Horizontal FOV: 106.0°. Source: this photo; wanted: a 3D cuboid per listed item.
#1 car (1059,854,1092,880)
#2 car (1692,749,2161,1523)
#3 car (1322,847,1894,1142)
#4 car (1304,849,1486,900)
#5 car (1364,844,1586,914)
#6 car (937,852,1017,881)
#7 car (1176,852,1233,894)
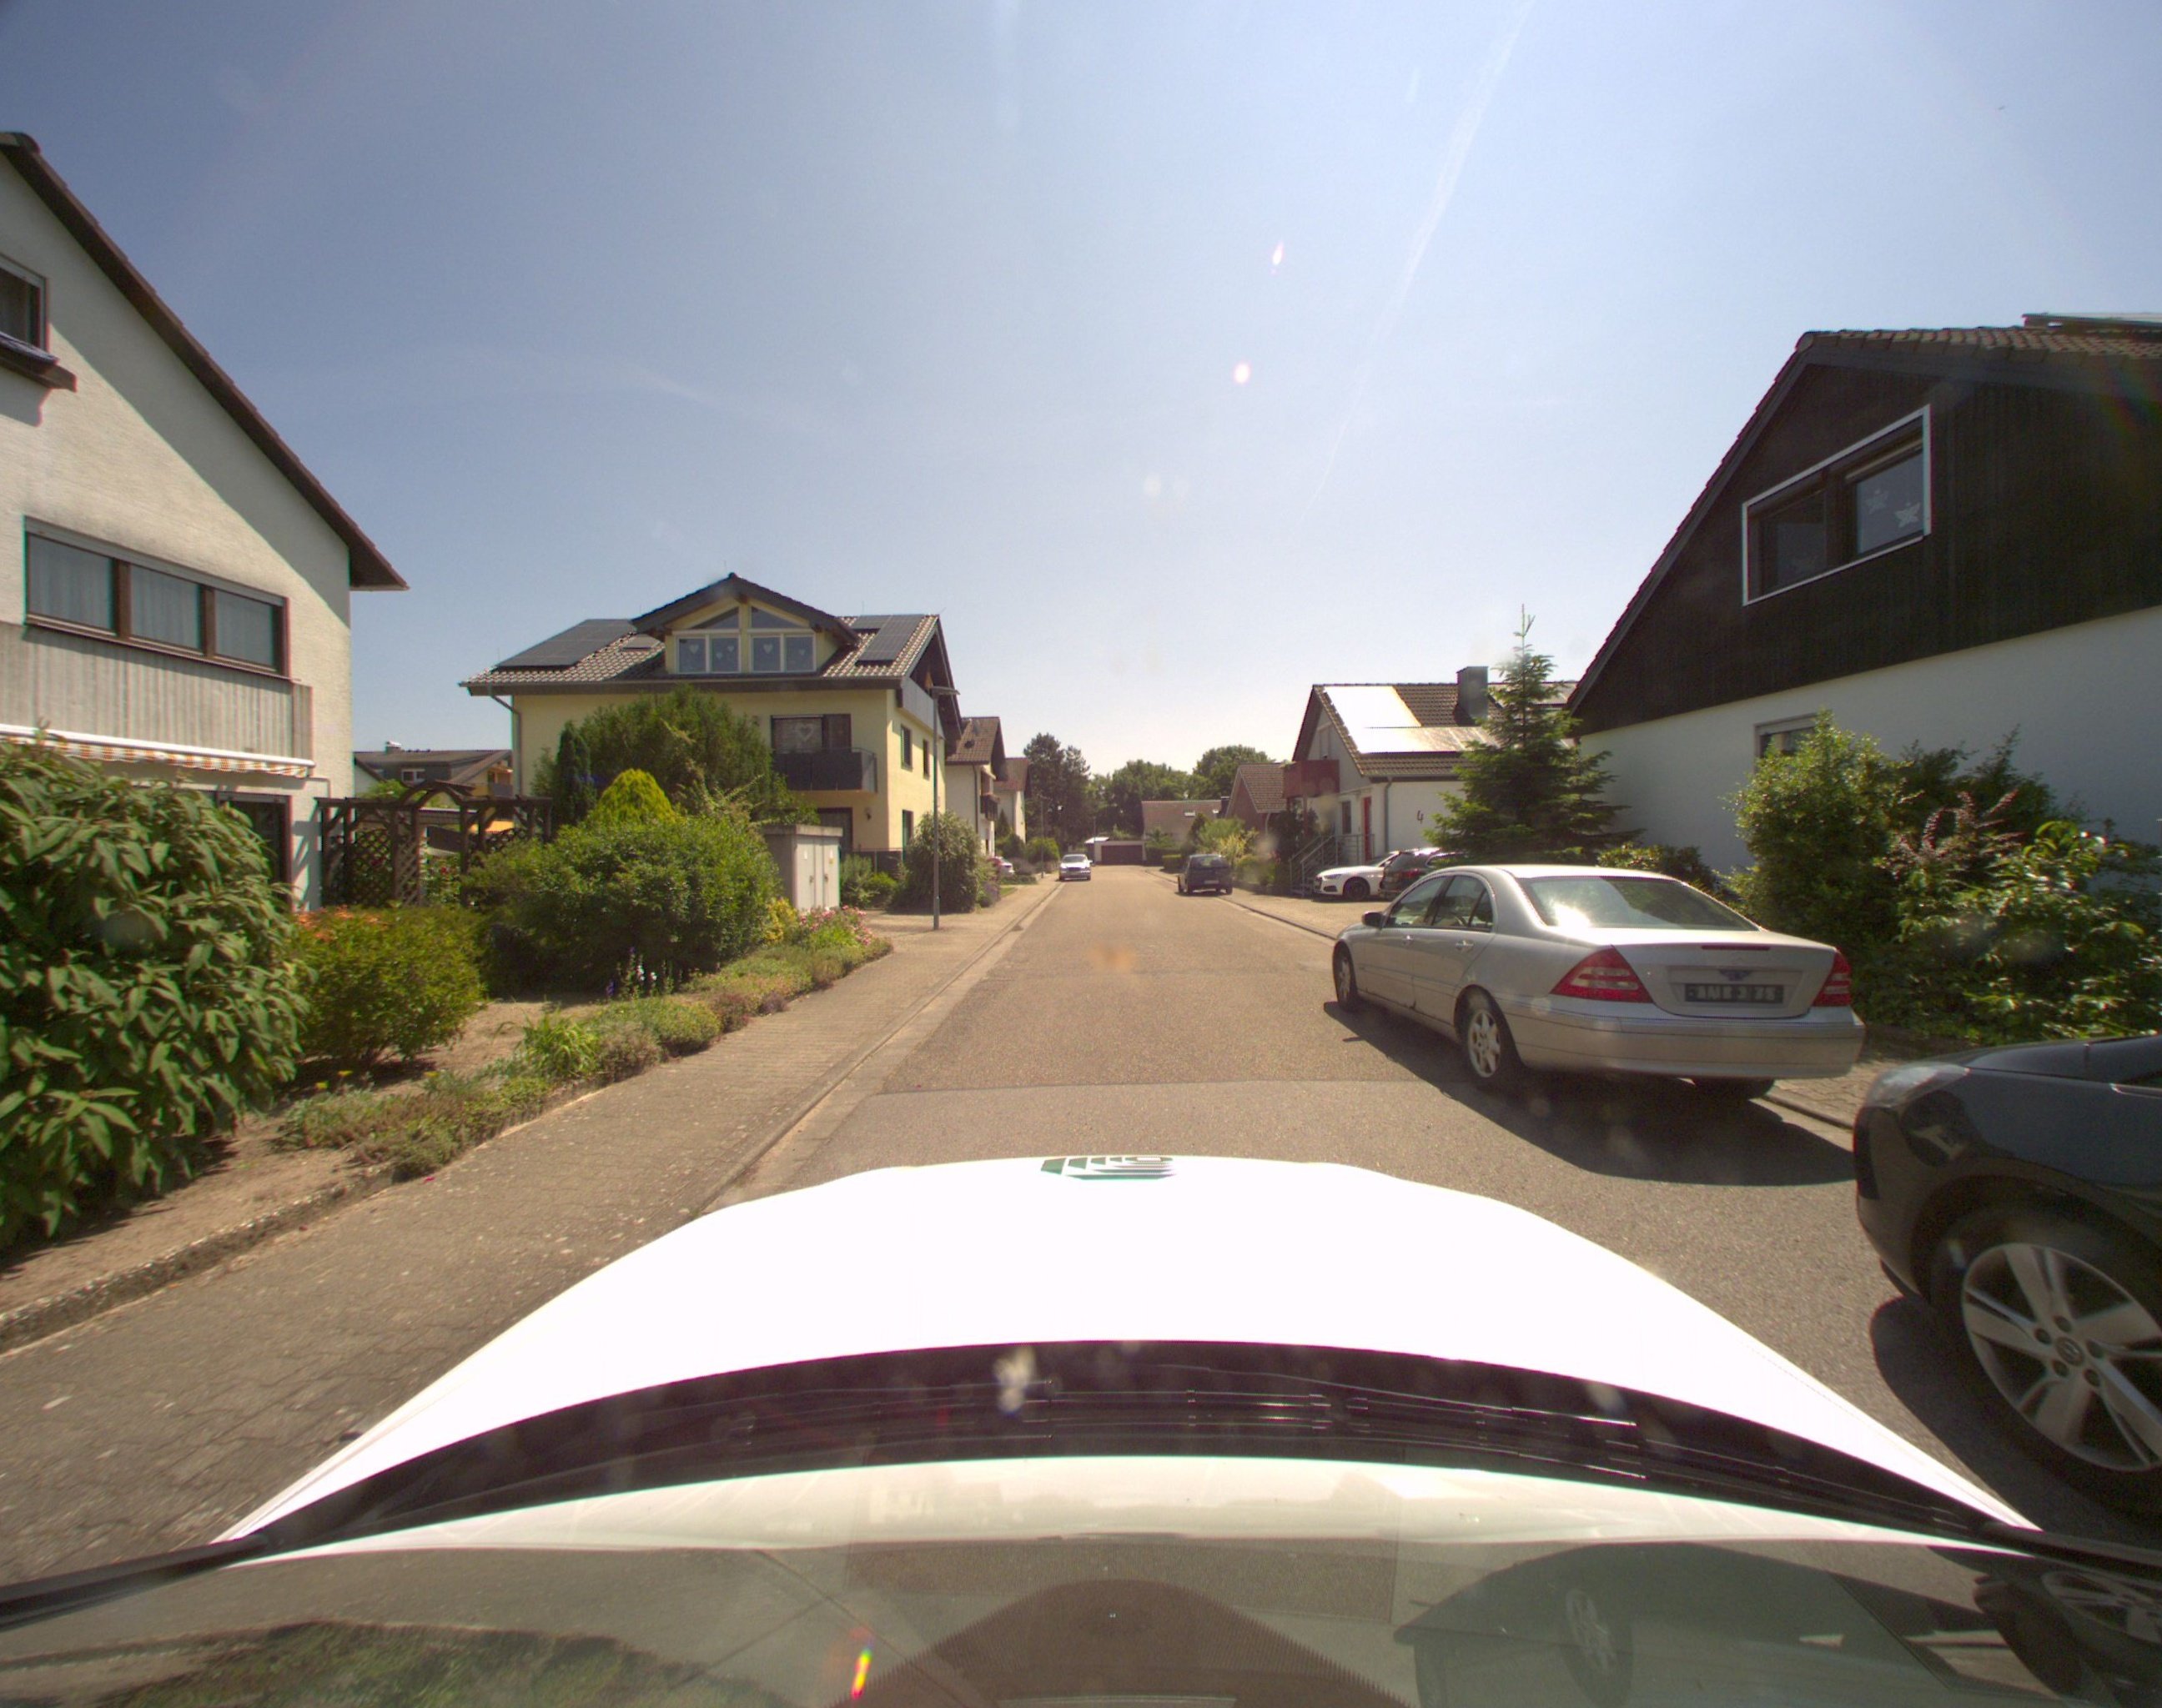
[{"bbox_3d":[-0.279,0.694,46.184,1.693,1.393,4.338,0,0,1],"label":"car"},{"bbox_3d":[3.264,0.603,0.767,1.956,1.662,4.684,-1,0,1],"label":"car"},{"bbox_3d":[3.290,0.697,6.263,1.680,1.460,4.338,-1,0,1],"label":"car"},{"bbox_3d":[8.920,0.557,23.408,4.519,1.396,1.953,0,0,2],"label":"car"},{"bbox_3d":[9.023,0.549,18.924,4.226,1.486,2.000,-1,0,0],"label":"car"},{"bbox_3d":[-5.348,0.630,42.192,3.980,1.420,1.842,0,0,-5],"label":"car"},{"bbox_3d":[4.470,0.648,29.936,1.644,1.440,3.653,0,0,1],"label":"car"}]
